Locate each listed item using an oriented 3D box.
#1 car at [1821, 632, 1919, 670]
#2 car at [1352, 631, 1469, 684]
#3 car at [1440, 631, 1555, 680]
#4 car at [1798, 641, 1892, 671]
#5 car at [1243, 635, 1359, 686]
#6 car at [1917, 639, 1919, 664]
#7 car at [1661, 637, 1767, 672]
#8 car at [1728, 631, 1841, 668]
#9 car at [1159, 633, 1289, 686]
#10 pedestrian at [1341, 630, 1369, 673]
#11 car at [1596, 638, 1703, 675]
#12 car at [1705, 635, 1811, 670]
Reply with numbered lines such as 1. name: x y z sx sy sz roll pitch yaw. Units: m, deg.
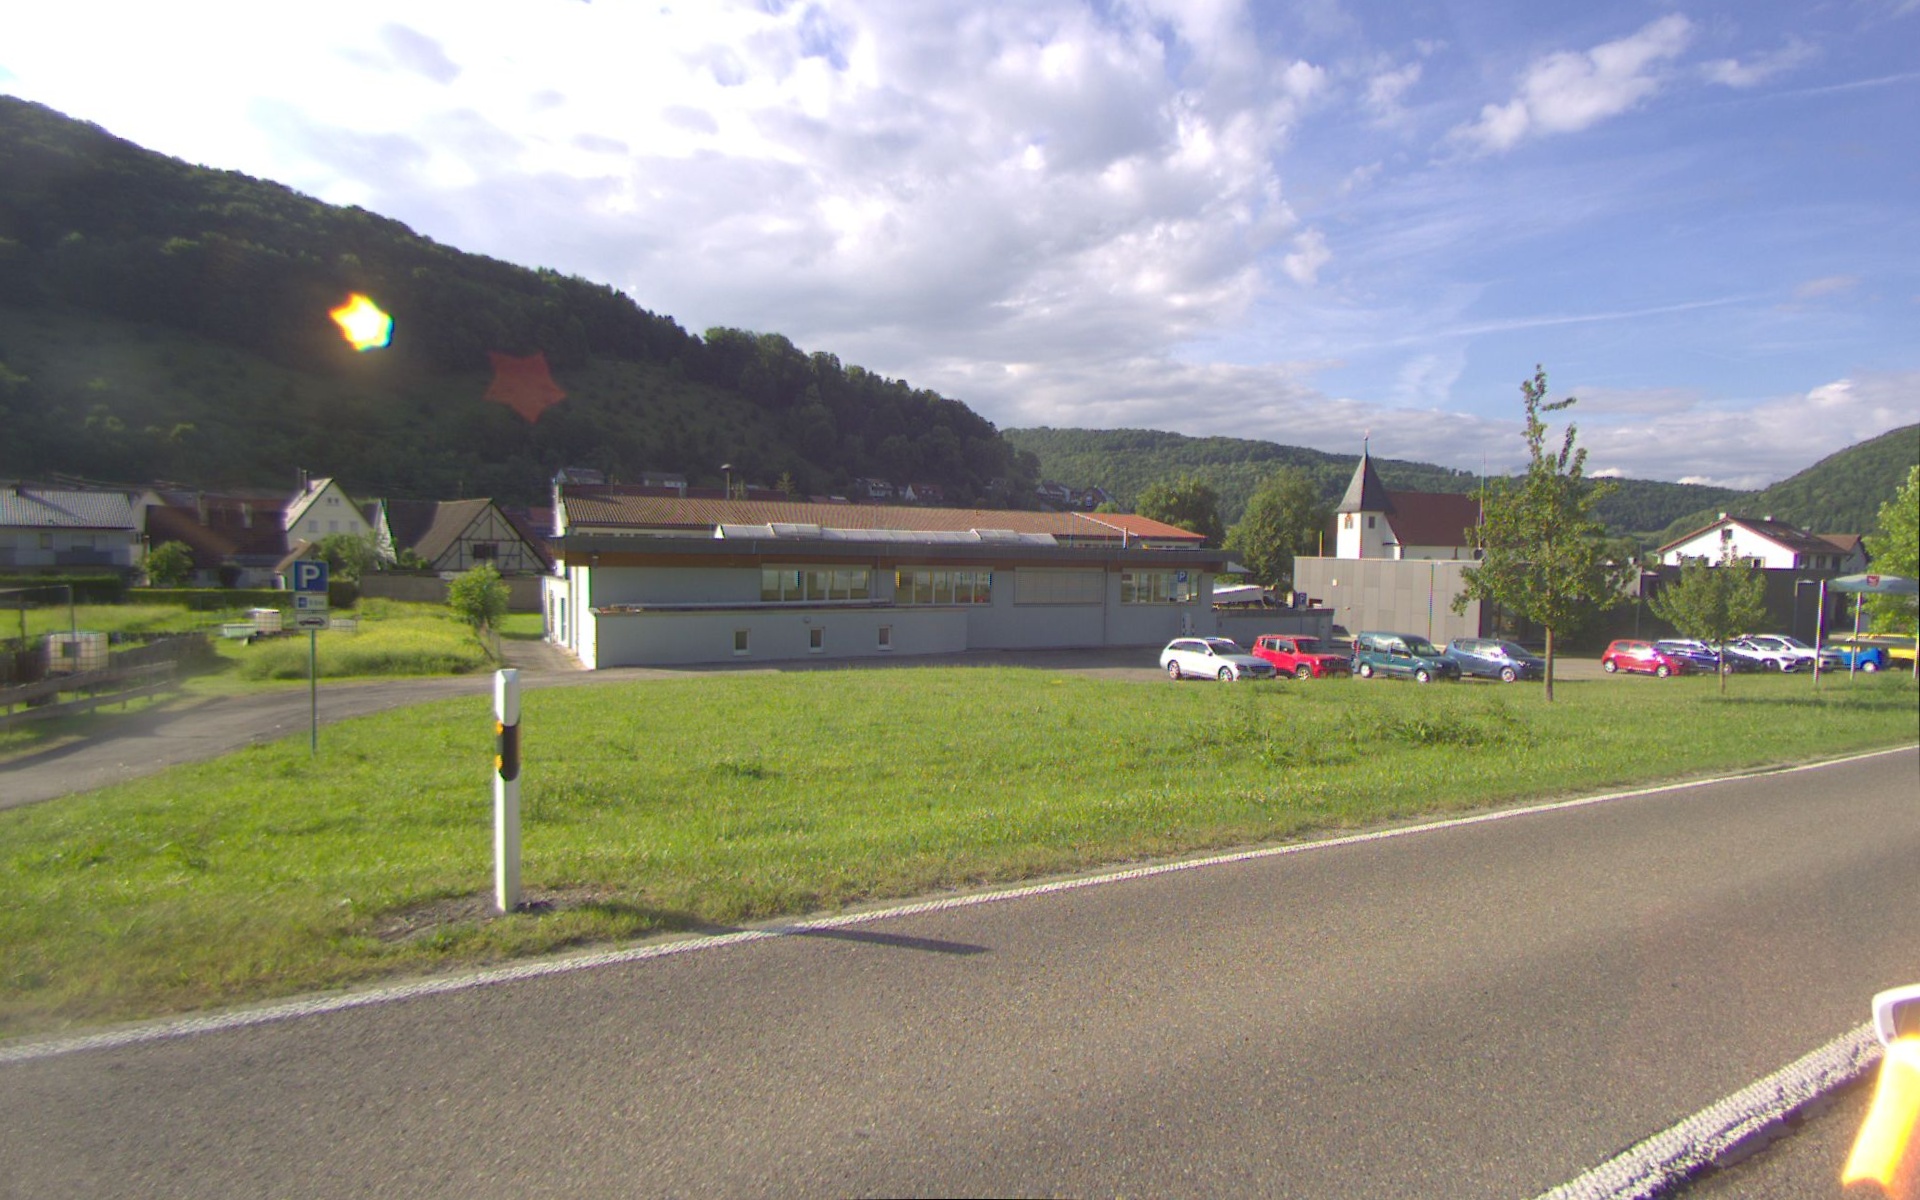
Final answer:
1. car: 48.432 2.626 52.773 1.815 1.839 4.543 1 -1 -23
2. car: 17.112 2.144 38.345 1.733 1.745 3.848 1 0 -26
3. car: 21.335 2.170 40.006 1.708 1.744 3.808 1 -1 -24
4. car: 45.861 2.888 52.086 1.641 1.392 3.353 1 -1 -30
5. car: 12.086 2.116 35.796 1.731 1.600 3.909 1 -1 -24
6. car: 57.210 3.004 57.163 1.488 1.458 3.704 1 -1 -23
7. car: 34.847 2.494 46.511 1.574 1.423 3.616 3 -2 -23
8. car: 40.493 2.415 49.420 1.574 1.695 4.068 1 -1 -23
9. car: 9.205 2.044 35.414 1.972 1.610 4.628 1 -1 -24
10. pedestrian: 16.206 2.104 41.228 0.697 1.716 0.790 1 1 -32
11. car: 30.372 2.465 44.336 1.625 1.463 3.616 1 -1 -23
12. car: 37.808 2.465 47.678 1.574 1.513 3.658 2 -1 -23
